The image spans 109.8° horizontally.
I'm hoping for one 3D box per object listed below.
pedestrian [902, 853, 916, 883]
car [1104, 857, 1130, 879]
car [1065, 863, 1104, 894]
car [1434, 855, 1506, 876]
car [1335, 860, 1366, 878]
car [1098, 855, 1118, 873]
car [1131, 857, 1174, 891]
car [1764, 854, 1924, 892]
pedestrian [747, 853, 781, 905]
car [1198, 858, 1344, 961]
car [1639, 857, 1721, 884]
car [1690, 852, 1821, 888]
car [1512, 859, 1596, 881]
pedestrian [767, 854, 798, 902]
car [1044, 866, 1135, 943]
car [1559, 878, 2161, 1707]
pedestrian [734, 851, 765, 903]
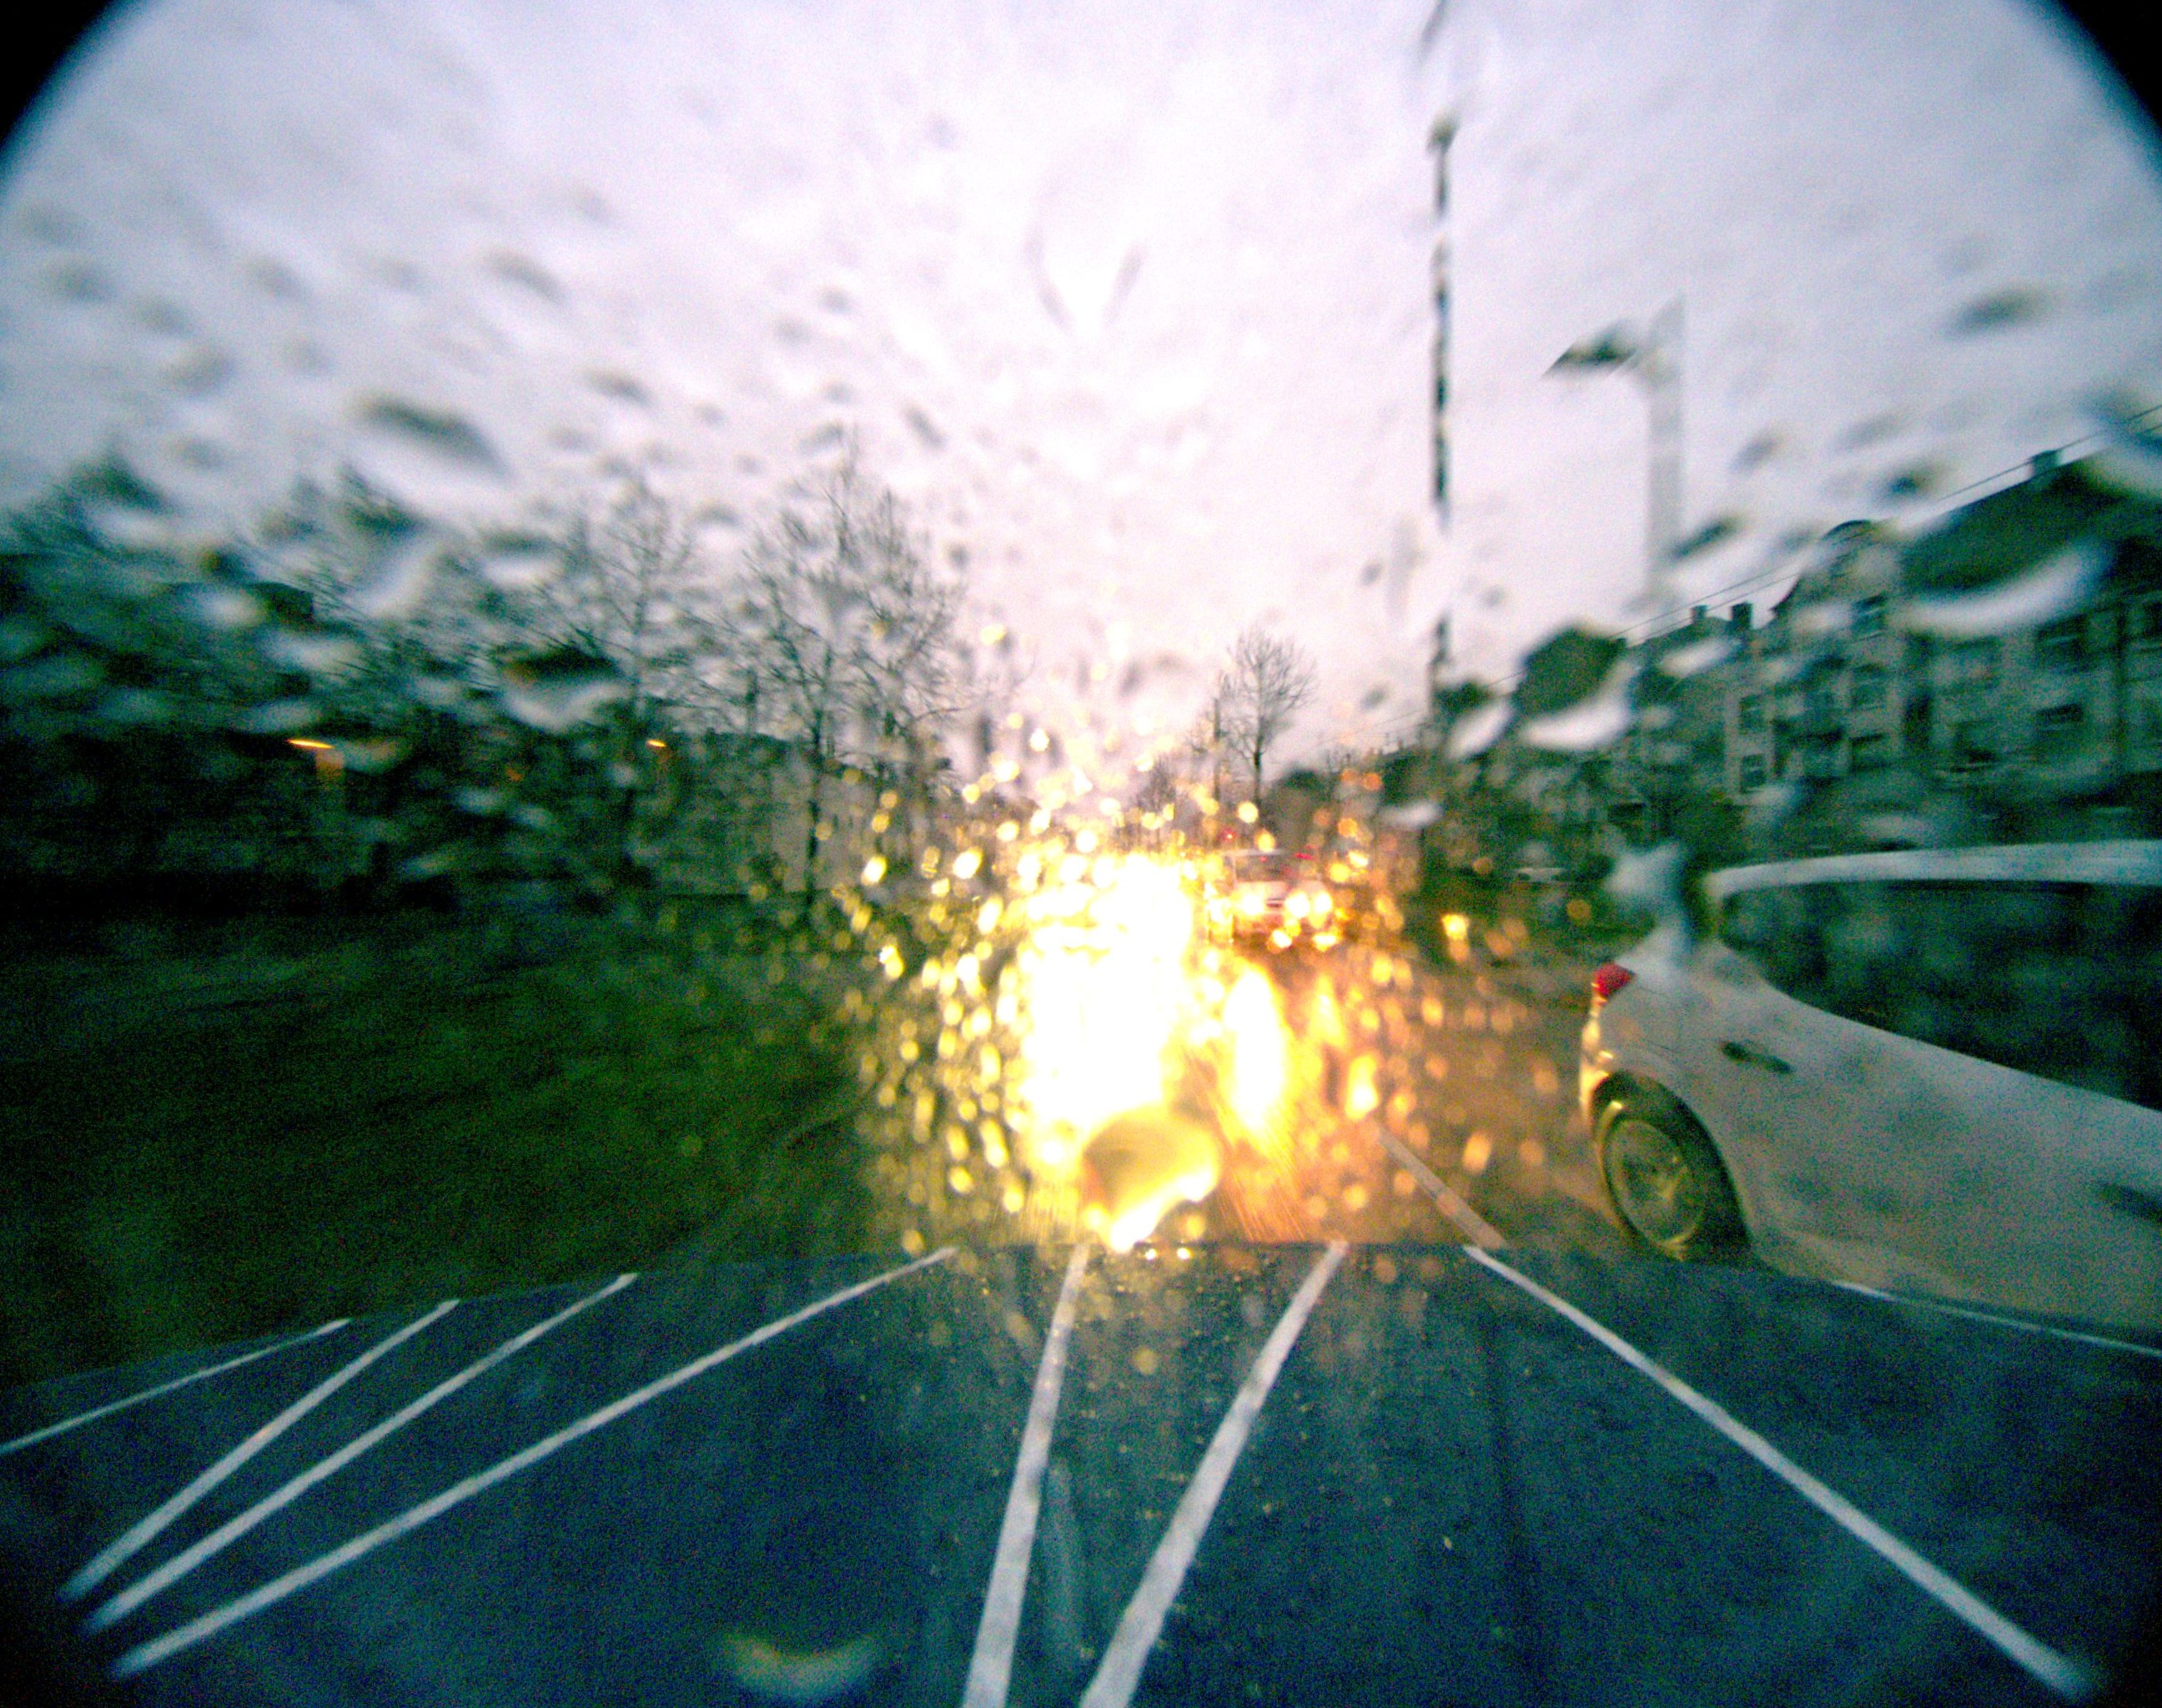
[{"bbox_3d":[-9.791,0.793,43.311,0.669,1.646,0.994,0,1,-4],"label":"pedestrian"},{"bbox_3d":[2.370,0.905,50.272,1.538,1.347,3.546,-2,0,1],"label":"car"},{"bbox_3d":[0.177,1.131,36.352,1.736,1.311,3.803,-2,0,1],"label":"car"},{"bbox_3d":[29.539,0.898,57.775,4.651,1.423,1.697,-2,0,37],"label":"car"},{"bbox_3d":[24.516,1.344,69.216,1.549,1.495,3.784,-2,0,2],"label":"car"},{"bbox_3d":[2.656,0.978,74.228,1.802,1.674,3.805,-2,0,1],"label":"car"},{"bbox_3d":[3.411,0.915,36.691,1.905,1.475,3.656,-2,0,4],"label":"car"},{"bbox_3d":[28.823,0.750,28.910,4.095,1.154,1.715,-4,1,40],"label":"car"},{"bbox_3d":[-10.085,0.794,24.181,0.673,1.615,0.615,-2,1,16],"label":"pedestrian"},{"bbox_3d":[3.229,0.865,13.648,1.638,1.510,3.907,-2,0,1],"label":"car"},{"bbox_3d":[28.114,0.781,35.783,2.912,0.984,1.798,-4,1,36],"label":"car"},{"bbox_3d":[28.456,0.698,32.224,4.034,1.223,1.351,-4,1,37],"label":"car"},{"bbox_3d":[29.751,0.997,47.839,4.254,1.250,1.837,-2,0,41],"label":"car"},{"bbox_3d":[-10.138,0.805,25.818,0.673,1.603,0.615,-2,1,15],"label":"pedestrian"},{"bbox_3d":[0.180,0.983,16.177,1.669,1.325,3.787,-2,0,1],"label":"car"},{"bbox_3d":[2.756,0.863,1.033,1.692,1.465,4.001,-2,0,1],"label":"car"},{"bbox_3d":[-11.410,0.792,26.168,0.673,1.767,0.615,-2,1,14],"label":"pedestrian"}]
